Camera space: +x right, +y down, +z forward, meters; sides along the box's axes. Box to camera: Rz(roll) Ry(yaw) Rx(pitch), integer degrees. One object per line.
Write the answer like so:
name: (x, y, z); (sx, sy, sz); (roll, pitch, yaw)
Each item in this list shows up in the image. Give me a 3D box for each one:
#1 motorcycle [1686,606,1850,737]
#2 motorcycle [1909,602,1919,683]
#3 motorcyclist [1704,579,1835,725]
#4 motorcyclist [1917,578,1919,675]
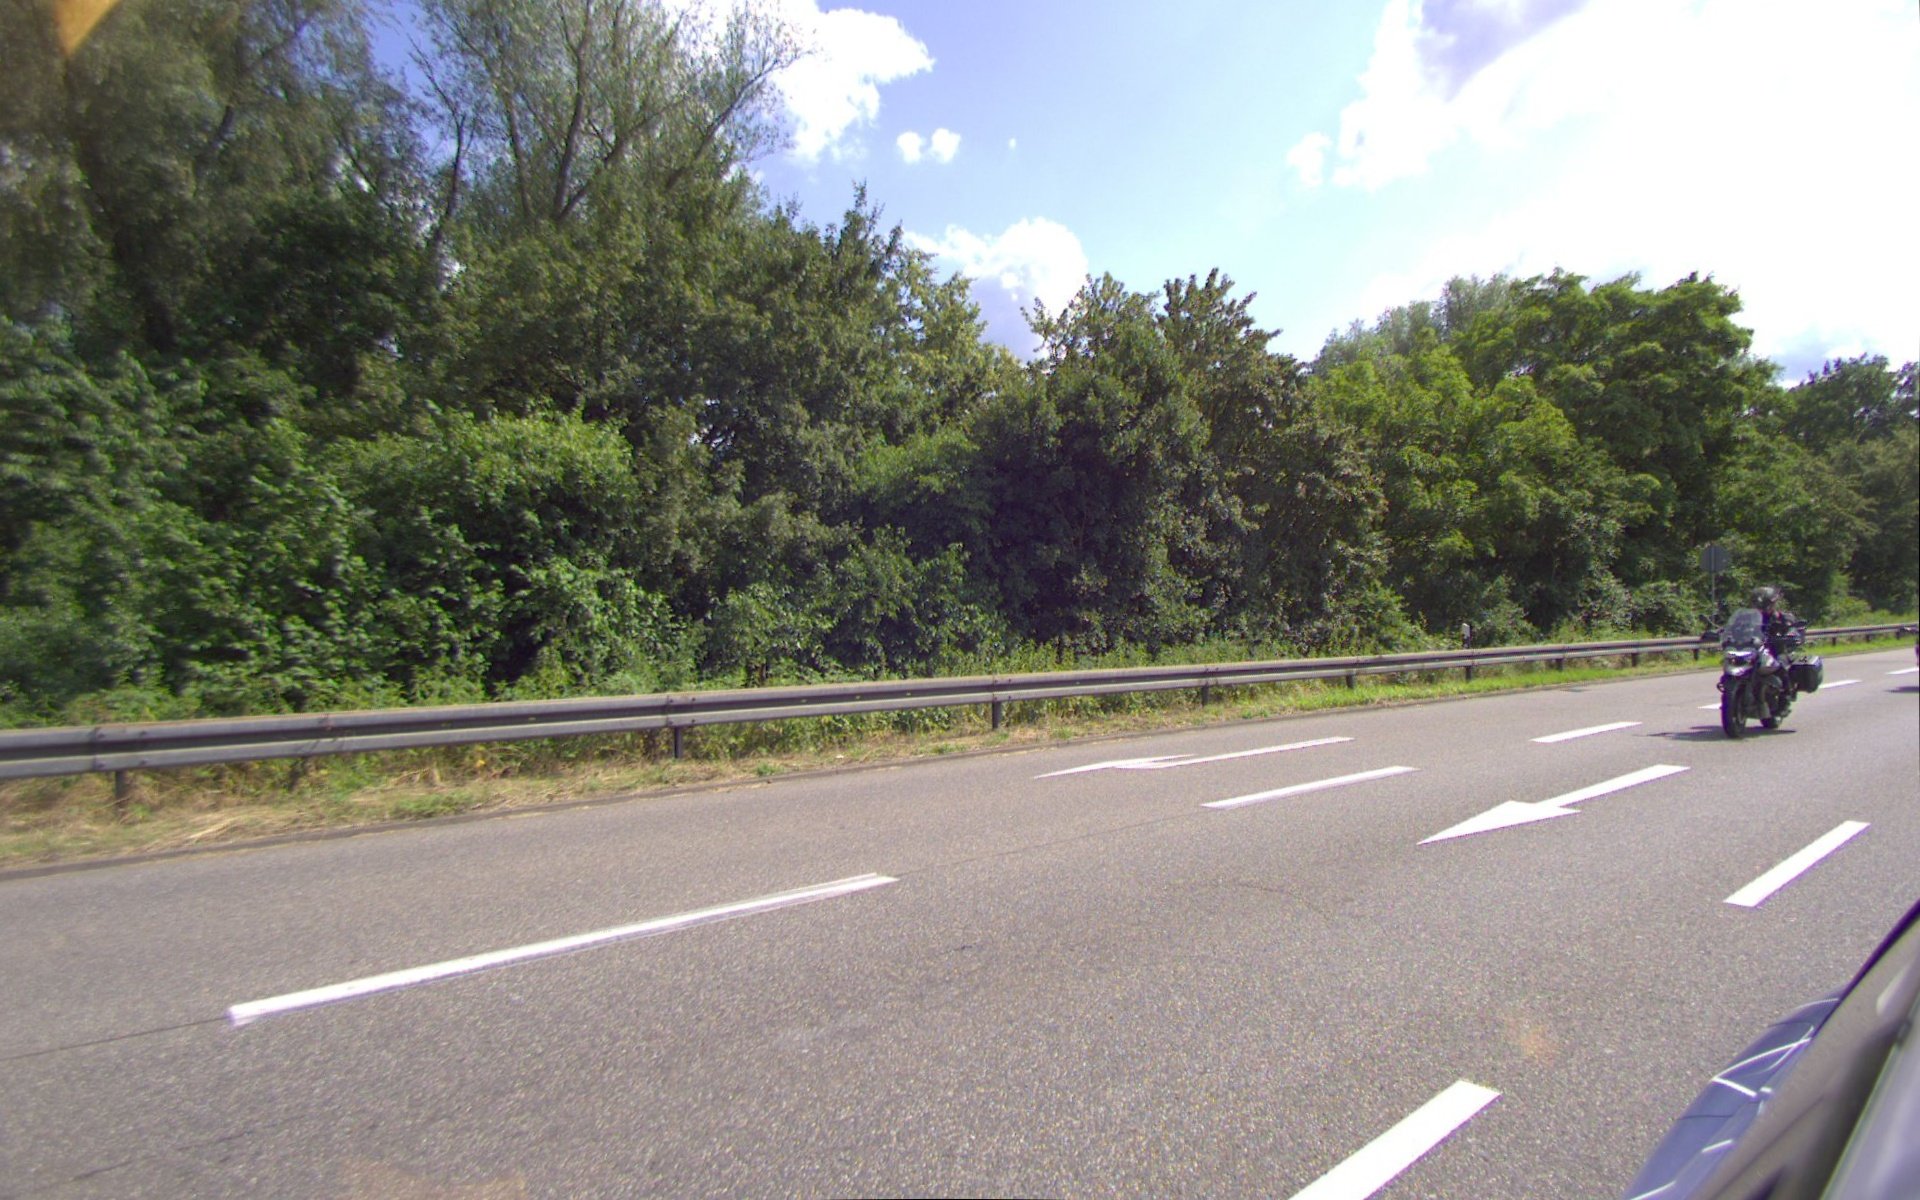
motorcycle: (9.563, 0.773, 11.944); (2.326, 1.401, 0.939); (0, -1, -37)
motorcycle: (17.754, 0.747, 17.939); (2.324, 1.407, 0.868); (1, -1, -34)
motorcyclist: (9.544, 0.581, 11.937); (1.063, 1.611, 0.939); (0, -1, -36)
motorcyclist: (17.598, 0.461, 17.840); (0.877, 1.722, 0.868); (1, -1, -34)
